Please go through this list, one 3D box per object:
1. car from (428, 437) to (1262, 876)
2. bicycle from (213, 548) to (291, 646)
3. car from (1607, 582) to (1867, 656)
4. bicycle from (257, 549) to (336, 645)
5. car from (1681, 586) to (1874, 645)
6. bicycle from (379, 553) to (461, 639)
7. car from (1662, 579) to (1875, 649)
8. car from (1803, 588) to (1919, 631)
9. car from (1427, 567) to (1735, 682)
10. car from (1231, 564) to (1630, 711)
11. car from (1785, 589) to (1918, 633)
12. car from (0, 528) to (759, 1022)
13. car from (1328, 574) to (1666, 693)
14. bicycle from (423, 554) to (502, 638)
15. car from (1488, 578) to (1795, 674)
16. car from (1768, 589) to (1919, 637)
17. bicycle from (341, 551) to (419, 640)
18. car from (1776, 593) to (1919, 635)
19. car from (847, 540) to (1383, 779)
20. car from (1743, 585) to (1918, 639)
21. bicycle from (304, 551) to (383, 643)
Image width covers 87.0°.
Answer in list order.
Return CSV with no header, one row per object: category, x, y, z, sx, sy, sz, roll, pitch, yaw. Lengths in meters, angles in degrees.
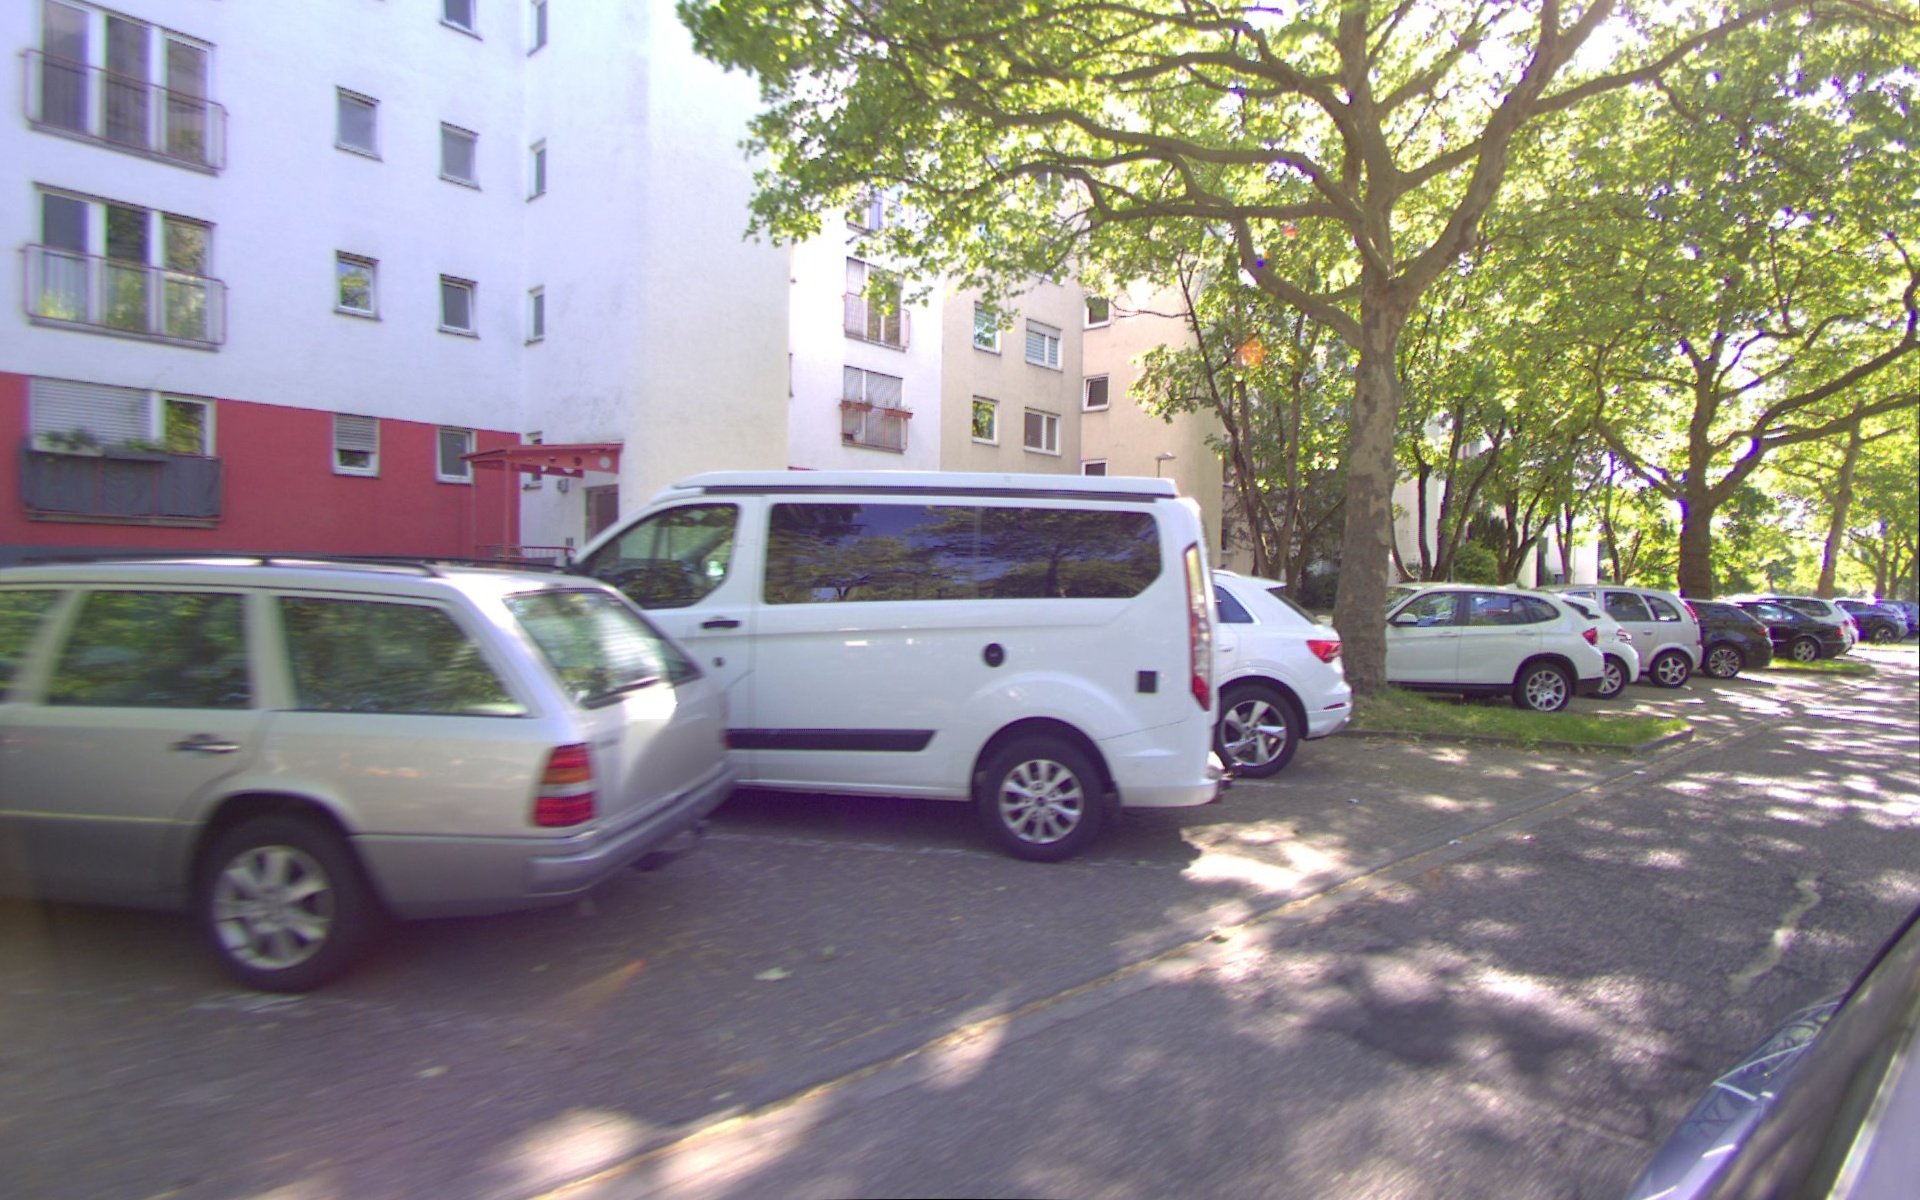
car,-0.634,0.190,6.398,4.514,2.077,2.013,3,3,9
bicycle,-9.410,-0.068,13.426,1.795,1.143,0.492,6,4,44
car,18.051,0.398,23.687,4.507,1.440,1.799,2,2,4
bicycle,-9.090,-0.071,13.838,1.795,1.143,0.492,6,4,44
car,23.711,0.409,29.496,3.933,1.462,1.797,3,2,8
bicycle,-8.199,-0.090,15.325,1.795,1.143,0.541,6,4,44
car,21.257,0.338,26.773,3.934,1.595,1.796,3,2,8
car,38.139,0.396,42.546,3.664,1.612,1.797,3,2,8
car,10.289,0.357,17.048,3.931,1.609,1.798,3,3,6
car,5.798,0.412,12.880,4.133,1.528,1.800,3,3,1
car,35.747,0.420,40.665,3.523,1.510,1.797,3,2,7
car,-3.355,0.470,4.391,4.512,1.441,1.797,3,3,7
car,7.811,0.439,15.056,3.928,1.436,1.831,3,3,3
bicycle,-7.702,-0.088,15.620,1.795,1.143,0.492,6,4,44
car,12.775,0.438,19.279,4.337,1.445,1.947,3,3,9
car,31.351,0.446,35.870,3.819,1.463,1.798,2,2,5
bicycle,-8.558,-0.092,14.898,1.795,1.143,0.492,6,4,44
car,33.703,0.517,38.222,4.078,1.334,1.796,3,2,8
car,1.205,0.392,8.649,3.987,1.599,1.831,3,3,6
car,28.784,0.378,33.573,4.100,1.529,1.800,2,2,2
bicycle,-8.729,-0.071,14.298,1.795,1.143,0.492,6,4,44
